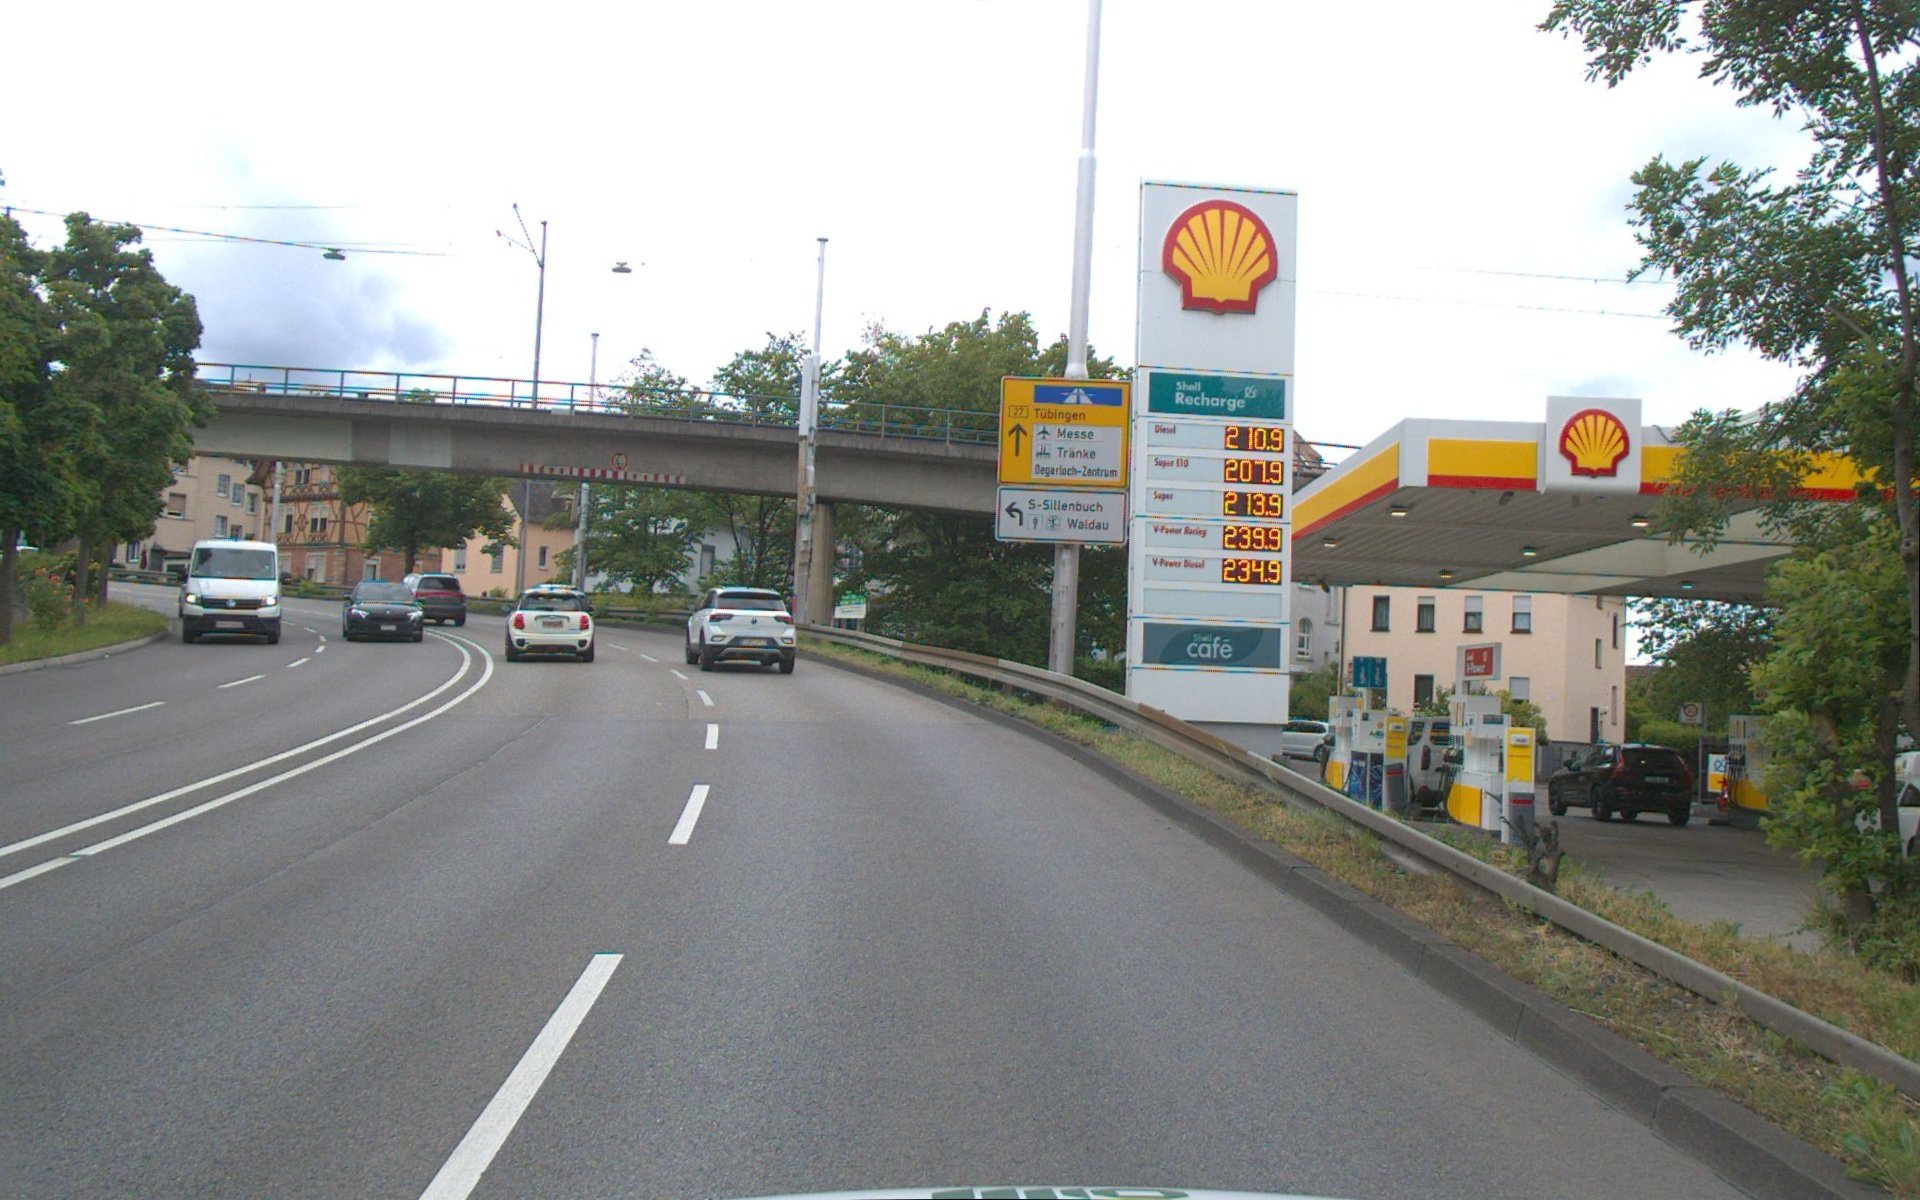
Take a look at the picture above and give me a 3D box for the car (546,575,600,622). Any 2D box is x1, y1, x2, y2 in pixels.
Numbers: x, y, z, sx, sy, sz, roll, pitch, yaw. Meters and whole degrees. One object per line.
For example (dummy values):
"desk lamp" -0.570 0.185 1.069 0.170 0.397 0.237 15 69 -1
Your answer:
"car" -13.006 -0.070 55.528 1.647 1.433 3.444 3 0 -14

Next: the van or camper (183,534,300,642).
"van or camper" -16.876 -0.296 39.101 1.978 2.300 5.930 1 0 -19

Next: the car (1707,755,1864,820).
"car" 21.768 4.942 43.744 3.541 1.484 1.658 0 -4 21

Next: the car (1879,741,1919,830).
"car" 23.537 4.313 38.070 3.783 1.972 1.742 1 -4 8

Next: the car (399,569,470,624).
"car" -17.187 -0.137 54.014 1.701 1.668 3.429 3 0 -25

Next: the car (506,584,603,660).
"car" -8.204 0.414 33.690 1.692 1.400 3.447 3 0 -11

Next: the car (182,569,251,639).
"car" -23.459 0.086 52.182 1.805 1.936 3.906 4 0 -25

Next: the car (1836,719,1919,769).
"car" 32.221 5.011 57.163 3.529 1.372 1.590 8 -4 -24

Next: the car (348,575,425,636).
"car" -14.416 0.107 41.469 1.710 1.439 4.402 1 1 -21

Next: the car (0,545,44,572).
"car" -53.797 -2.391 94.023 3.389 1.400 1.721 3 0 37

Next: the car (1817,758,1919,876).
"car" 14.193 3.144 24.037 1.699 1.512 3.879 1 -4 4

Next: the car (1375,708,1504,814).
"car" 10.144 3.357 35.305 1.699 2.046 4.714 1 -4 4

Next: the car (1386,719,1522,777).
"car" 17.248 5.155 57.794 4.212 1.547 1.621 5 -2 31

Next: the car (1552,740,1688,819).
"car" 14.453 3.906 36.406 1.699 1.512 3.879 1 -4 4

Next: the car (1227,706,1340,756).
"car" 11.951 4.841 61.137 3.692 1.419 1.646 4 -3 33

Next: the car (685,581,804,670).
"car" -4.200 0.455 31.844 1.767 1.545 3.443 3 0 -15
